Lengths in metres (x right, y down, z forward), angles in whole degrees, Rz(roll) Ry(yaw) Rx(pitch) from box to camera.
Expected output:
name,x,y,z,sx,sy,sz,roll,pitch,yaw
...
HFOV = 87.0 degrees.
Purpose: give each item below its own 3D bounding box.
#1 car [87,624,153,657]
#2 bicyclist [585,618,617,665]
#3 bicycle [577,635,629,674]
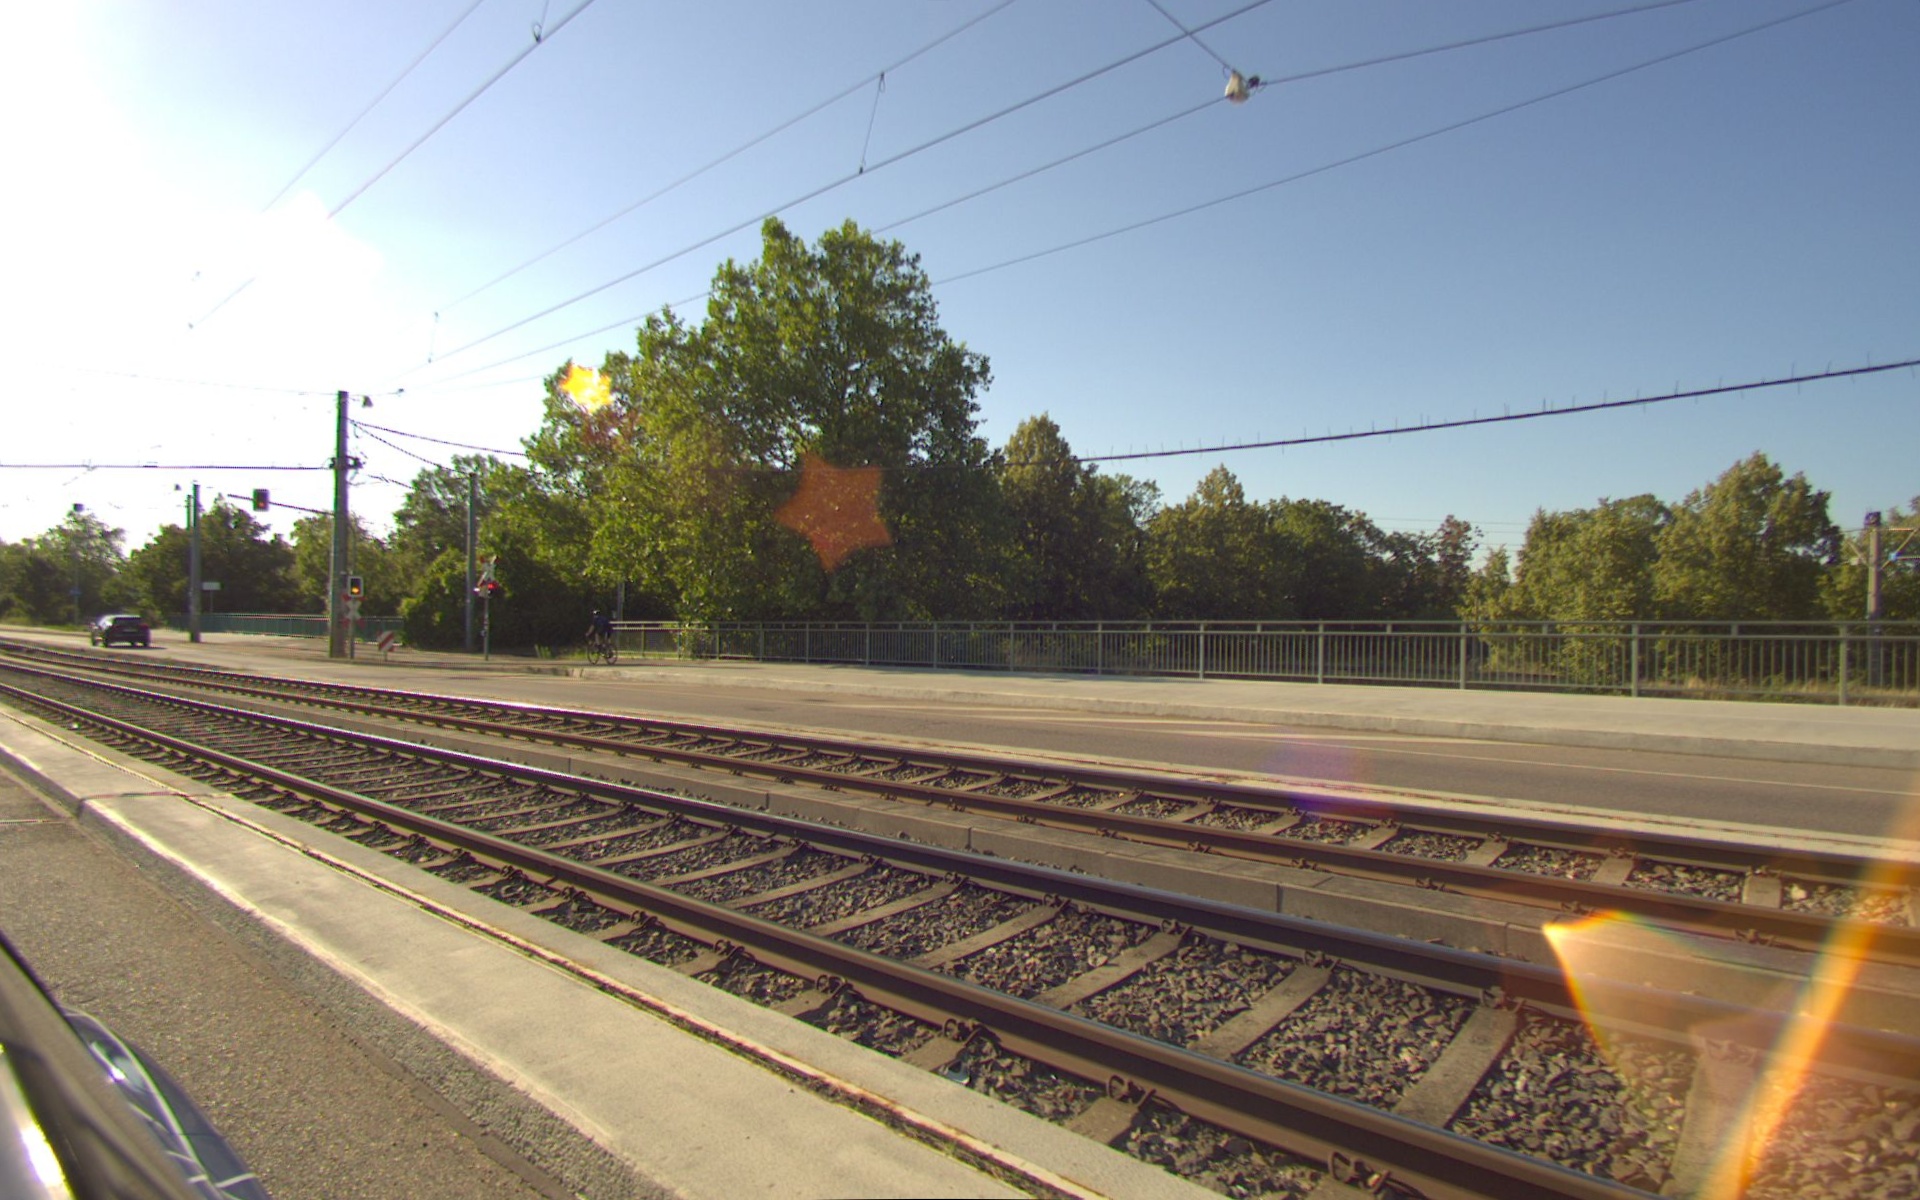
name,x,y,z,sx,sy,sz,roll,pitch,yaw
car,-41.149,1.939,49.561,4.217,1.513,1.829,-1,-1,41
bicyclist,-11.318,1.301,31.909,0.969,1.443,0.618,-1,-1,45
bicycle,-11.260,1.684,31.852,2.261,1.131,0.618,0,0,45
